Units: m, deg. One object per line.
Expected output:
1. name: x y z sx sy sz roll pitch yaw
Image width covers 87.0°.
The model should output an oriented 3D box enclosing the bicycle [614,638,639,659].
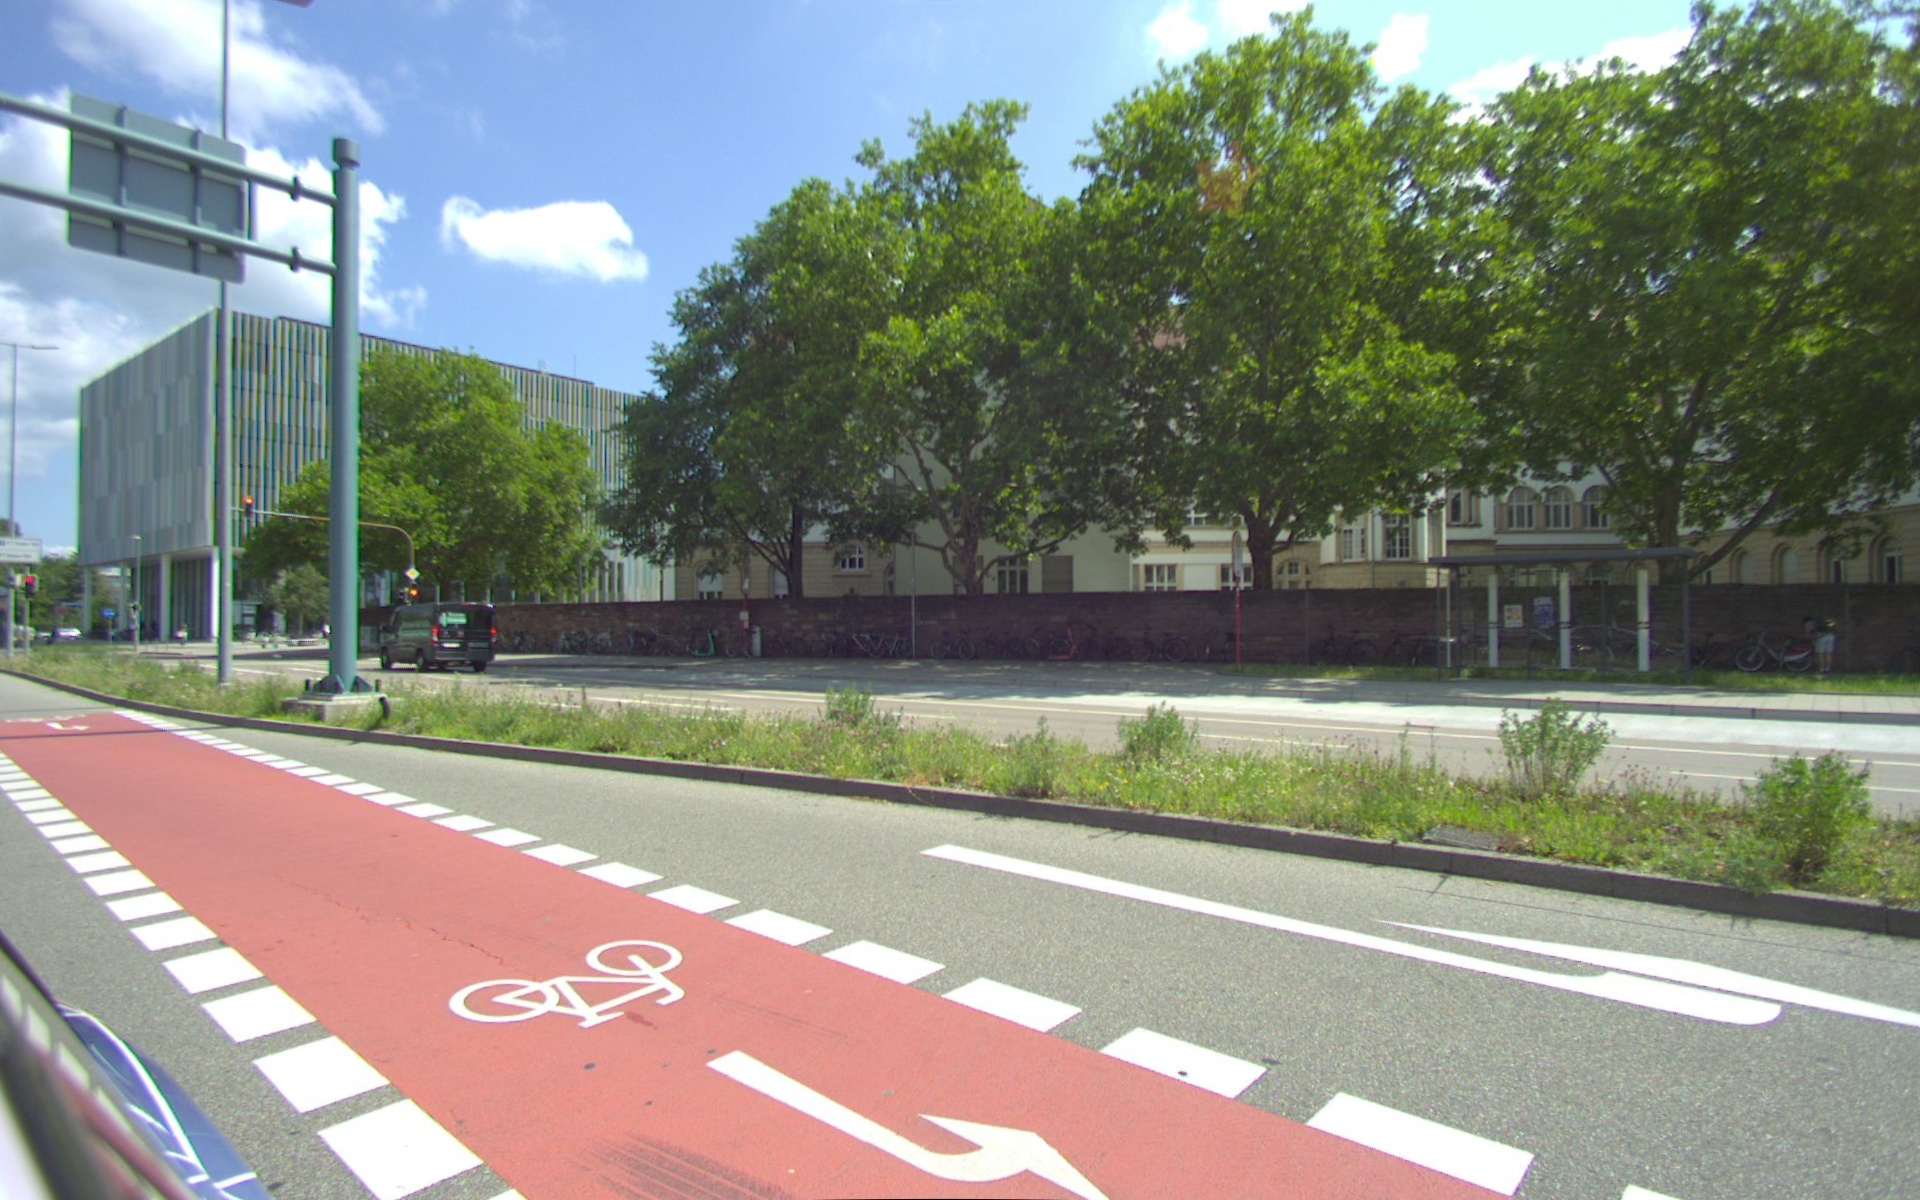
1. bicycle: -13.914 2.023 42.230 1.231 0.837 0.262 -2 -2 30

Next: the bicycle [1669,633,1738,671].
1. bicycle: 19.236 1.342 26.194 1.384 0.972 0.263 -1 -2 18

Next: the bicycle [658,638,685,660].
1. bicycle: -11.565 1.962 40.578 1.231 0.837 0.262 -2 -2 30

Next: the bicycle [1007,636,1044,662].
1. bicycle: 2.135 1.606 33.067 1.230 0.837 0.262 -1 -2 28

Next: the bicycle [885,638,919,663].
1. bicycle: -2.012 1.746 35.115 1.231 0.837 0.262 -1 -2 30

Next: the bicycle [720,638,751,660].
1. bicycle: -8.644 1.881 38.947 1.226 0.837 0.263 -1 -2 19

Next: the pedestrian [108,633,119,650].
1. pedestrian: -73.425 3.633 87.791 0.686 1.464 0.690 1 -2 -43

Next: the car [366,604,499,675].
1. car: -17.501 1.329 33.473 5.014 2.192 2.126 -2 -4 40

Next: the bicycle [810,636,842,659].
1. bicycle: -4.882 1.716 36.866 1.231 0.837 0.262 -1 -2 30

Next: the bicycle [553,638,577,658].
1. bicycle: -17.379 2.105 44.529 1.230 0.837 0.262 -1 -2 29

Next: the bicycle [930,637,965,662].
1. bicycle: -0.429 1.681 34.276 1.230 0.837 0.262 -1 -2 28

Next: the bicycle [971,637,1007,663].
1. bicycle: 0.963 1.656 33.717 1.230 0.837 0.262 -1 -2 28

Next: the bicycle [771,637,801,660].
1. bicycle: -6.467 1.805 37.564 1.231 0.837 0.262 -1 -2 30

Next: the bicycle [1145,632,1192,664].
1. bicycle: 6.403 1.472 31.035 1.385 0.972 0.263 -1 -2 20

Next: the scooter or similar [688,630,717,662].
1. scooter or similar: -9.888 1.753 38.828 1.230 1.199 0.262 -1 -2 29

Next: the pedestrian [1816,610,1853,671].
1. pedestrian: 21.434 0.986 24.813 0.633 1.484 0.504 -2 -2 39

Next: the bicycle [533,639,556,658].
1. bicycle: -18.592 2.157 45.307 1.230 0.837 0.262 -1 -2 29

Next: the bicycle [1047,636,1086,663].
1. bicycle: 3.412 1.589 32.456 1.230 0.837 0.262 -1 -2 28

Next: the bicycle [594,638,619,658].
1. bicycle: -15.000 2.012 42.889 1.231 0.837 0.262 -2 -2 30

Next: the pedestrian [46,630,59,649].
1. pedestrian: -81.995 3.600 91.465 0.705 1.704 0.783 -2 -2 42

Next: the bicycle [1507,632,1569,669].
1. bicycle: 15.633 1.365 27.387 1.384 0.972 0.263 -1 -2 18

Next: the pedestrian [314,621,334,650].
1. pedestrian: -44.292 2.455 70.493 0.864 2.029 0.981 -2 -2 41

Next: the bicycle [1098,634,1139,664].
1. bicycle: 4.943 1.518 31.584 1.230 0.915 0.262 -1 -2 28

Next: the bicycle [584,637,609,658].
1. bicycle: -15.300 2.000 42.606 1.230 0.837 0.262 -1 -2 29

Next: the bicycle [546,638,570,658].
1. bicycle: -17.479 2.090 43.963 1.230 0.837 0.262 -1 -2 29

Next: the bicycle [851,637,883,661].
1. bicycle: -3.307 1.750 35.931 1.231 0.837 0.262 -1 -2 30

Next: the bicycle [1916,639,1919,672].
1. bicycle: 24.444 1.353 24.602 1.734 0.823 0.382 -1 -2 18

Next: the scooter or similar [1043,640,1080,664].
1. scooter or similar: 3.181 1.624 31.806 1.133 0.734 0.264 -1 -2 18

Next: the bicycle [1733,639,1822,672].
1. bicycle: 20.747 1.402 25.720 1.734 0.823 0.327 -1 -2 18

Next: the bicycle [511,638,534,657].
1. bicycle: -19.969 2.157 46.196 1.230 0.837 0.262 -1 -2 29

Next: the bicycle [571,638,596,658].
1. bicycle: -16.264 2.077 43.723 1.231 0.837 0.262 -2 -2 30

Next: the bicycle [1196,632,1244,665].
1. bicycle: 7.809 1.465 30.415 1.389 0.972 0.262 -1 -2 28

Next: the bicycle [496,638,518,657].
1. bicycle: -21.037 2.207 46.989 1.231 0.837 0.262 -2 -2 30

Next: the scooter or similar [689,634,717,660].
1. scooter or similar: -10.141 1.846 39.917 1.133 1.028 0.264 -1 -2 19

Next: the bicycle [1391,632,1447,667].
1. bicycle: 12.867 1.401 28.418 1.384 0.972 0.263 -1 -2 18

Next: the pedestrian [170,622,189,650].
1. pedestrian: -56.968 2.603 73.864 0.994 2.029 0.853 -2 -2 39

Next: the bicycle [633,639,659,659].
1. bicycle: -12.886 2.004 41.472 1.231 0.837 0.262 -2 -2 30

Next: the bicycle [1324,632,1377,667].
1. bicycle: 11.182 1.423 29.031 1.384 0.972 0.263 -1 -2 18
